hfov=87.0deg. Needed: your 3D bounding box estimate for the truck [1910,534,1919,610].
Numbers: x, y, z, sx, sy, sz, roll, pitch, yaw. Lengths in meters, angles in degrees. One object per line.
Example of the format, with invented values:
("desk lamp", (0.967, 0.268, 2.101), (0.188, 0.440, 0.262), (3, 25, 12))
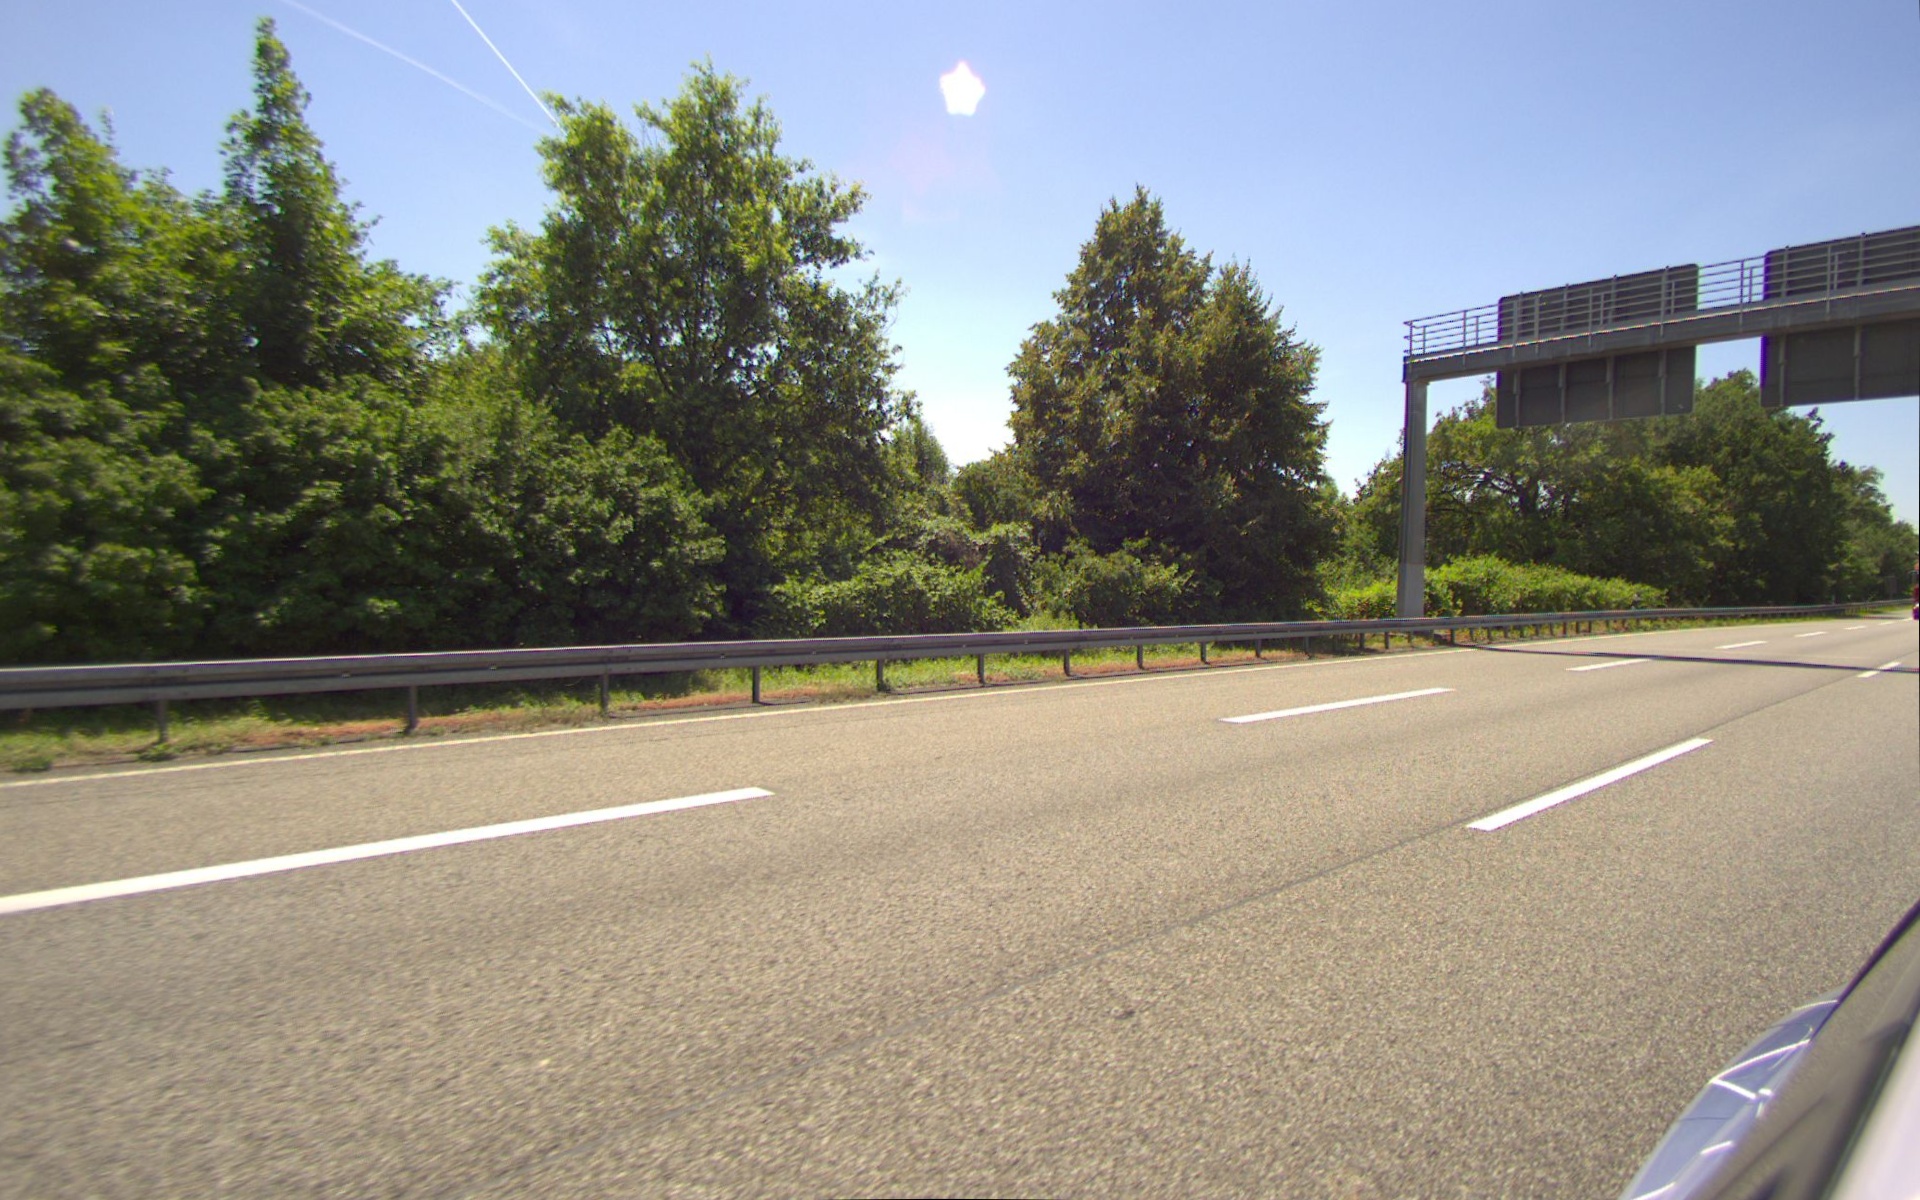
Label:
("truck", (60.110, -1.649, 60.957), (8.352, 4.431, 3.332), (0, 1, -41))
